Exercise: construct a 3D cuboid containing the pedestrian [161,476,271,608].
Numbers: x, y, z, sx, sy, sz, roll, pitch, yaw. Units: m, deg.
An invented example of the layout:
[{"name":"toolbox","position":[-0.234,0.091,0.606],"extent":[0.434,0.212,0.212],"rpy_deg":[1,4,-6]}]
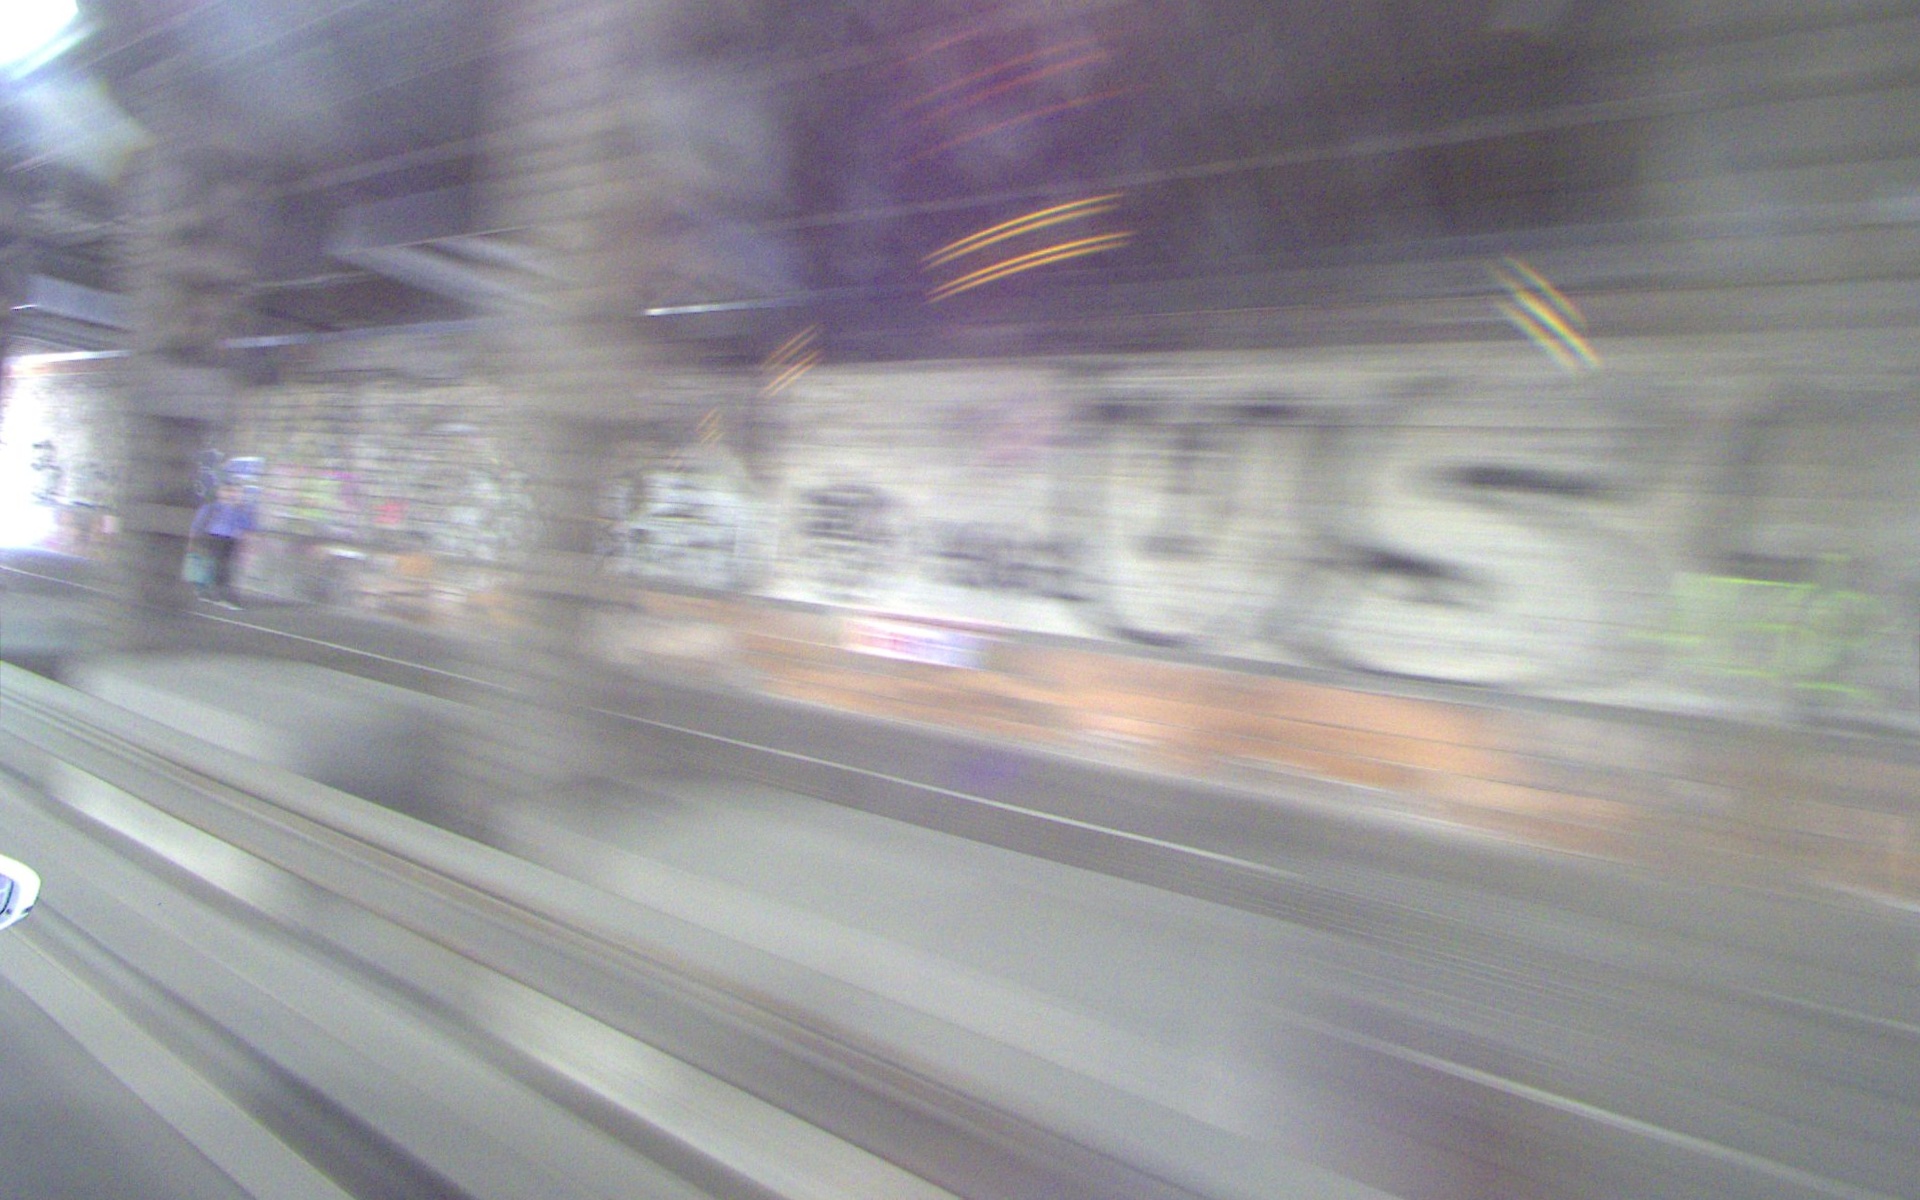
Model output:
[{"name":"pedestrian","position":[-10.529,-0.811,14.244],"extent":[1.093,1.724,0.800],"rpy_deg":[7,2,31]}]
